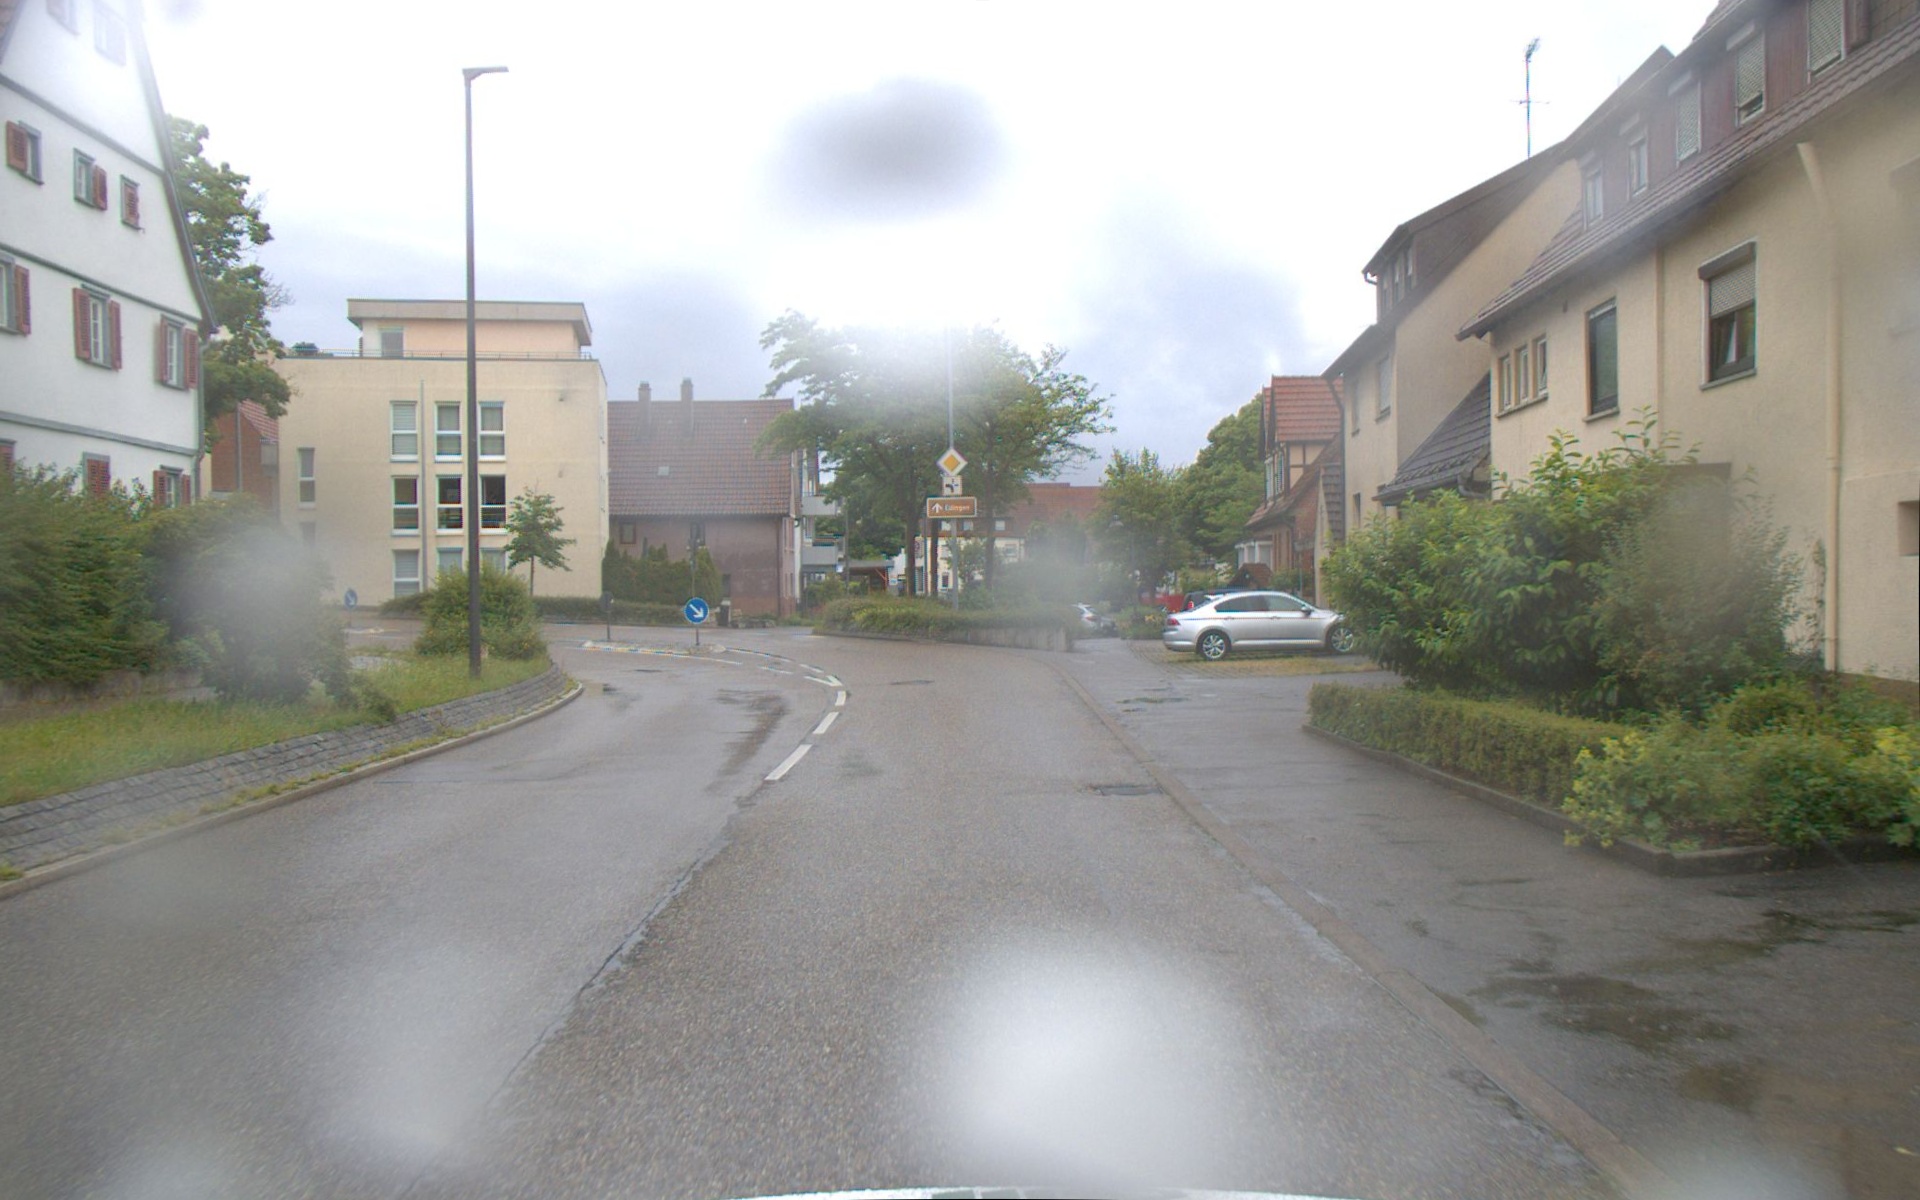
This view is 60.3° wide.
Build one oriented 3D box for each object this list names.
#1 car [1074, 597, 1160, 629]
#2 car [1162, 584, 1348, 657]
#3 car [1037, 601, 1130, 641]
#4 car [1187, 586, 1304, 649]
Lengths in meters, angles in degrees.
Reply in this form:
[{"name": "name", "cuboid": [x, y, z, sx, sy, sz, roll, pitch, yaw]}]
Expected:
[{"name": "car", "cuboid": [7.502, 0.604, 78.631, 3.901, 1.444, 2.002, -1, 0, 10]}, {"name": "car", "cuboid": [6.460, 0.450, 36.351, 3.869, 1.433, 2.002, -2, 0, 9]}, {"name": "car", "cuboid": [5.480, 0.920, 73.235, 3.901, 1.654, 2.002, -1, 0, 11]}, {"name": "car", "cuboid": [7.249, 0.440, 41.893, 2.848, 1.550, 1.392, -1, 0, 12]}]
